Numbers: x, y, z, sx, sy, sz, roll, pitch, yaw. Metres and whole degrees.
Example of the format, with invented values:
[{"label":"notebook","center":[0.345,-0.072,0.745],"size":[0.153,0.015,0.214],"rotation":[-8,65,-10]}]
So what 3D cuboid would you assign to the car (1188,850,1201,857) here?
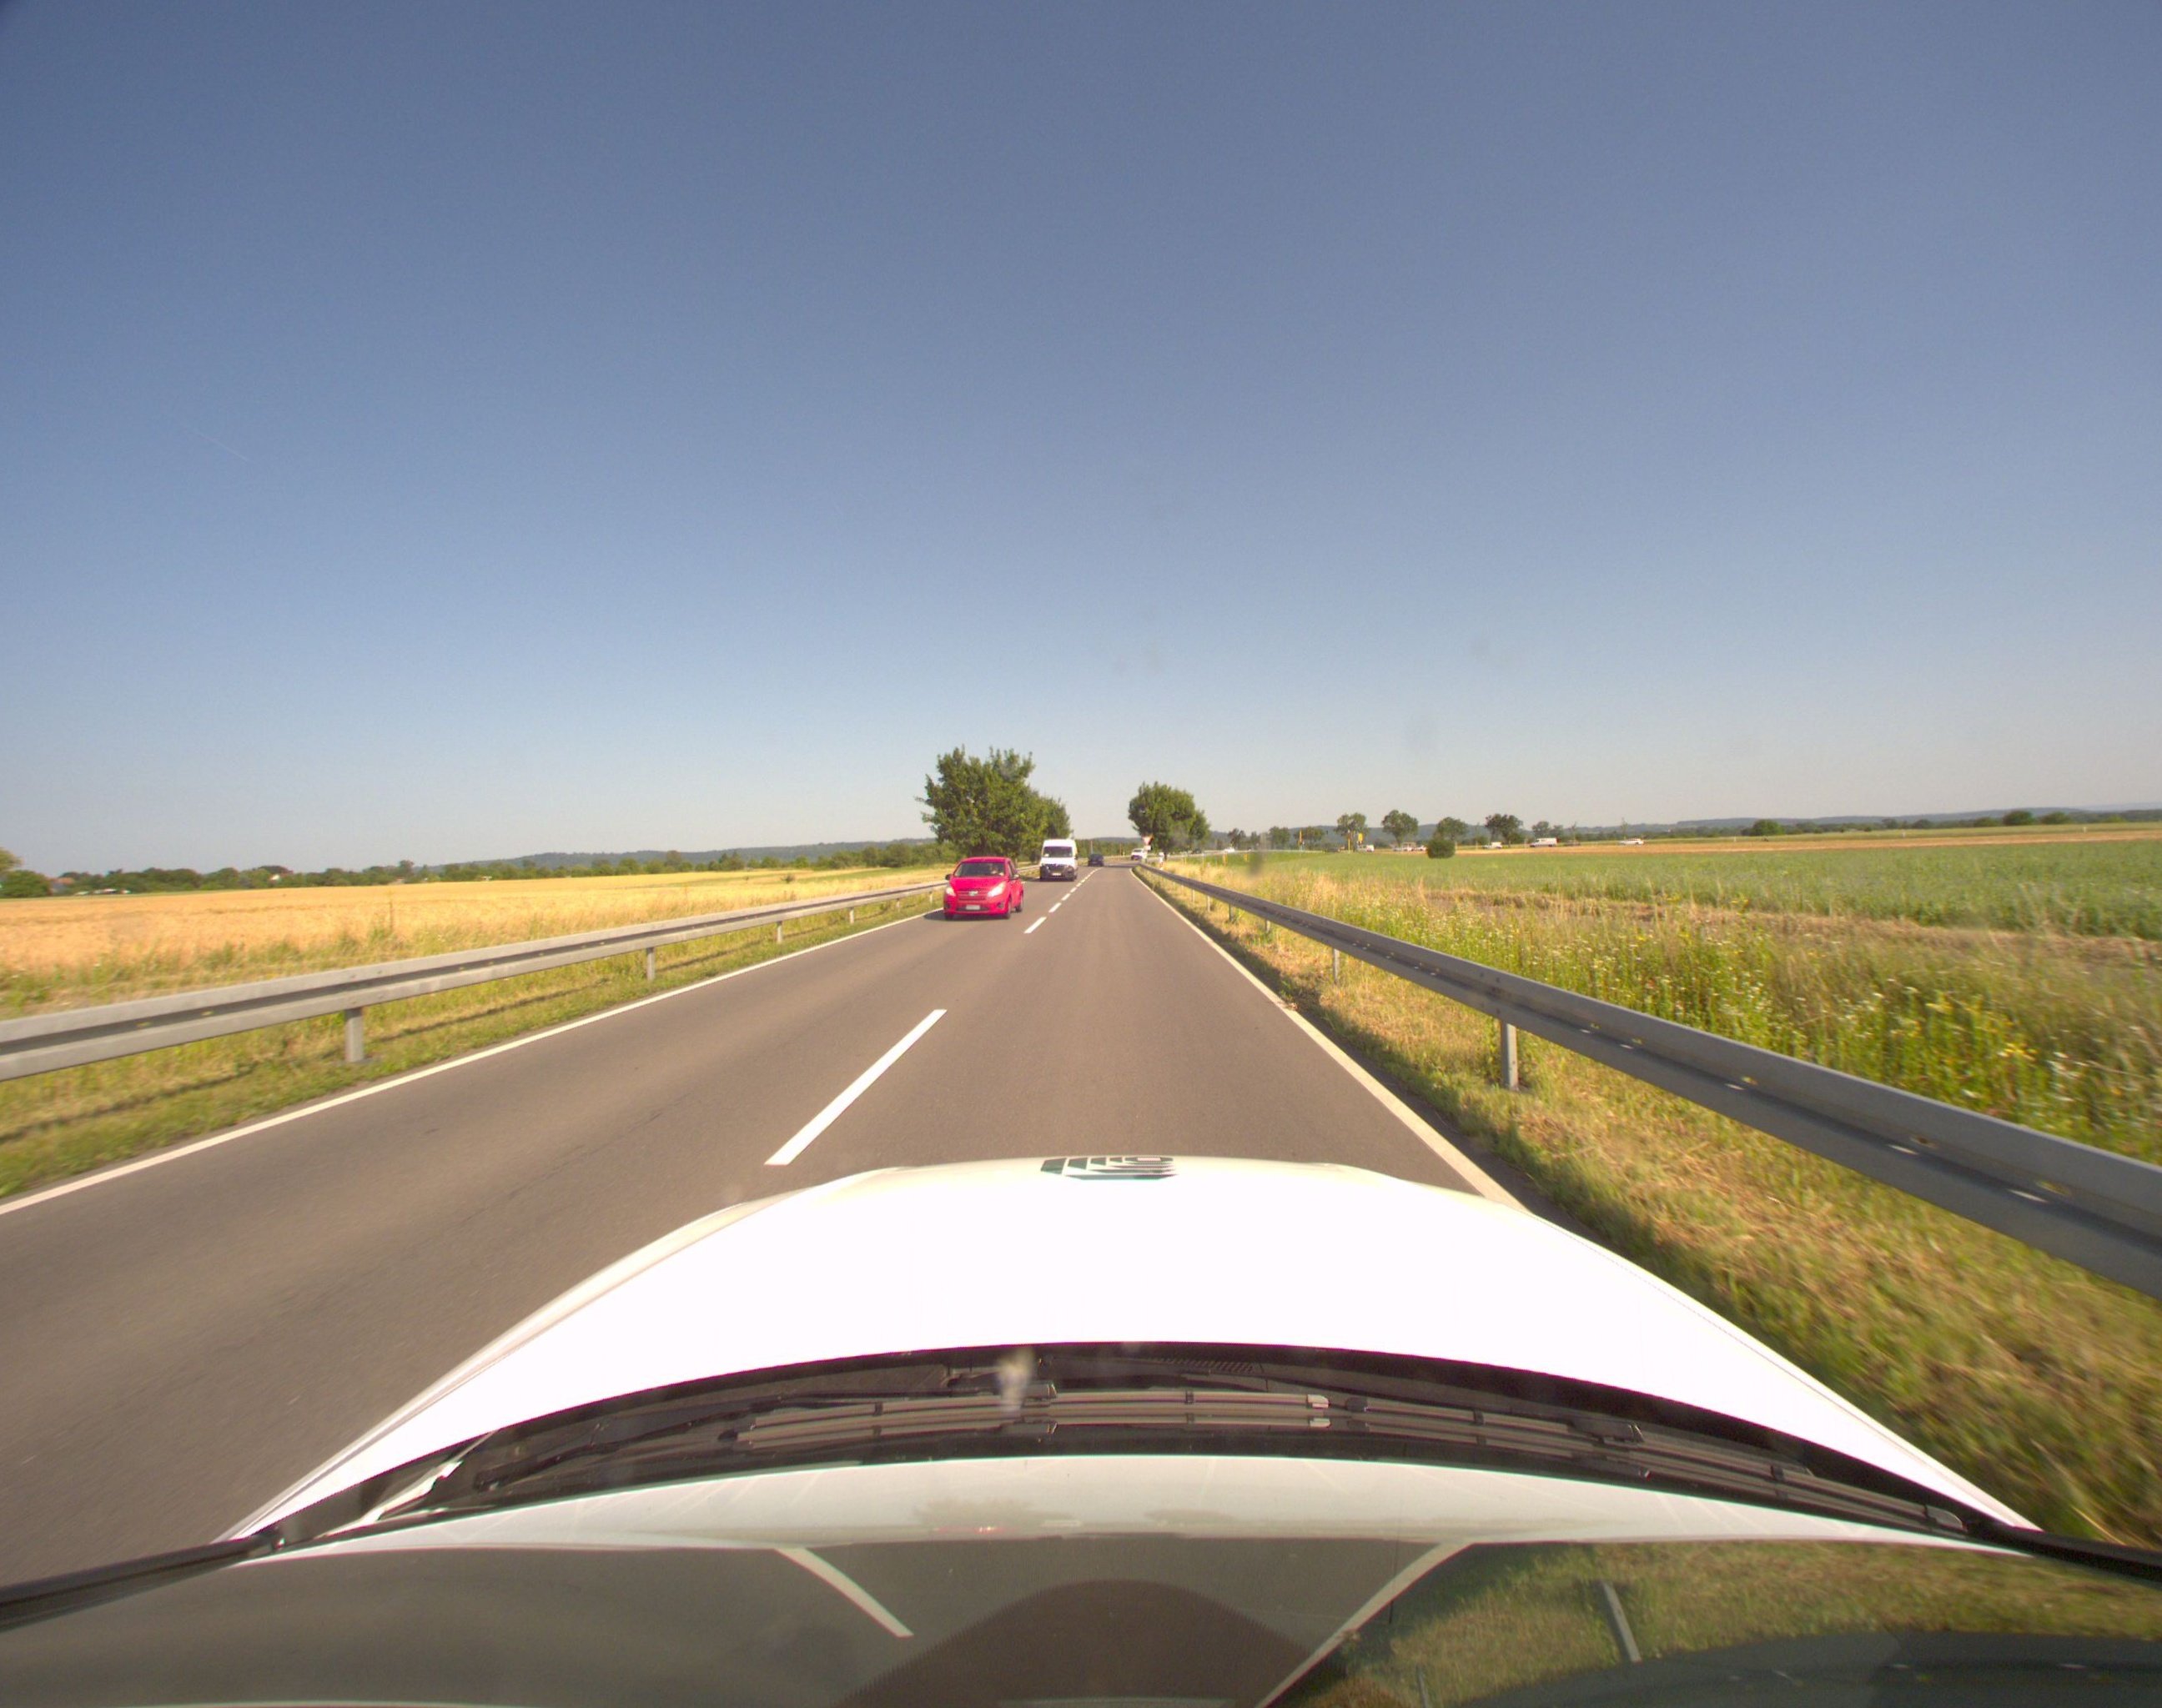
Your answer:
[{"label":"car","center":[24.447,-0.181,175.328],"size":[1.977,1.532,4.614],"rotation":[0,0,20]}]

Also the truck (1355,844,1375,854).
[{"label":"truck","center":[78.455,-1.300,225.055],"size":[5.002,2.529,2.012],"rotation":[-1,-1,40]}]

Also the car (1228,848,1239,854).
[{"label":"car","center":[39.818,-0.833,212.249],"size":[1.976,1.532,4.616],"rotation":[0,0,22]}]

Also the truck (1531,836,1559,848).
[{"label":"truck","center":[112.944,-2.852,198.280],"size":[5.526,2.695,3.315],"rotation":[-1,-1,35]}]

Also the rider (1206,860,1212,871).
[{"label":"rider","center":[18.351,1.617,116.568],"size":[0.604,1.527,1.835],"rotation":[0,-1,19]}]

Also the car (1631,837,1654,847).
[{"label":"car","center":[128.170,-2.732,185.884],"size":[3.948,2.014,2.013],"rotation":[-3,-1,39]}]

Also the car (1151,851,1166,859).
[{"label":"car","center":[14.675,0.125,153.556],"size":[1.887,1.532,4.612],"rotation":[0,0,17]}]

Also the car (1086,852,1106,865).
[{"label":"car","center":[1.754,0.565,95.673],"size":[1.633,1.471,3.819],"rotation":[-1,0,12]}]

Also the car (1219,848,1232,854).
[{"label":"car","center":[34.583,-0.761,194.763],"size":[1.975,1.532,4.618],"rotation":[0,0,25]}]

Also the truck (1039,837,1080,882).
[{"label":"truck","center":[-1.216,0.313,49.191],"size":[1.986,2.520,6.247],"rotation":[-1,0,2]}]

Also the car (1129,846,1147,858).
[{"label":"car","center":[9.492,-0.287,135.098],"size":[1.978,1.884,4.613],"rotation":[0,0,18]}]

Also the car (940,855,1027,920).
[{"label":"car","center":[-2.408,0.785,20.938],"size":[1.600,1.488,3.782],"rotation":[-1,0,2]}]

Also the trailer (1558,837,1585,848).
[{"label":"trailer","center":[117.502,-2.778,195.162],"size":[5.390,2.354,3.376],"rotation":[-1,-1,35]}]
